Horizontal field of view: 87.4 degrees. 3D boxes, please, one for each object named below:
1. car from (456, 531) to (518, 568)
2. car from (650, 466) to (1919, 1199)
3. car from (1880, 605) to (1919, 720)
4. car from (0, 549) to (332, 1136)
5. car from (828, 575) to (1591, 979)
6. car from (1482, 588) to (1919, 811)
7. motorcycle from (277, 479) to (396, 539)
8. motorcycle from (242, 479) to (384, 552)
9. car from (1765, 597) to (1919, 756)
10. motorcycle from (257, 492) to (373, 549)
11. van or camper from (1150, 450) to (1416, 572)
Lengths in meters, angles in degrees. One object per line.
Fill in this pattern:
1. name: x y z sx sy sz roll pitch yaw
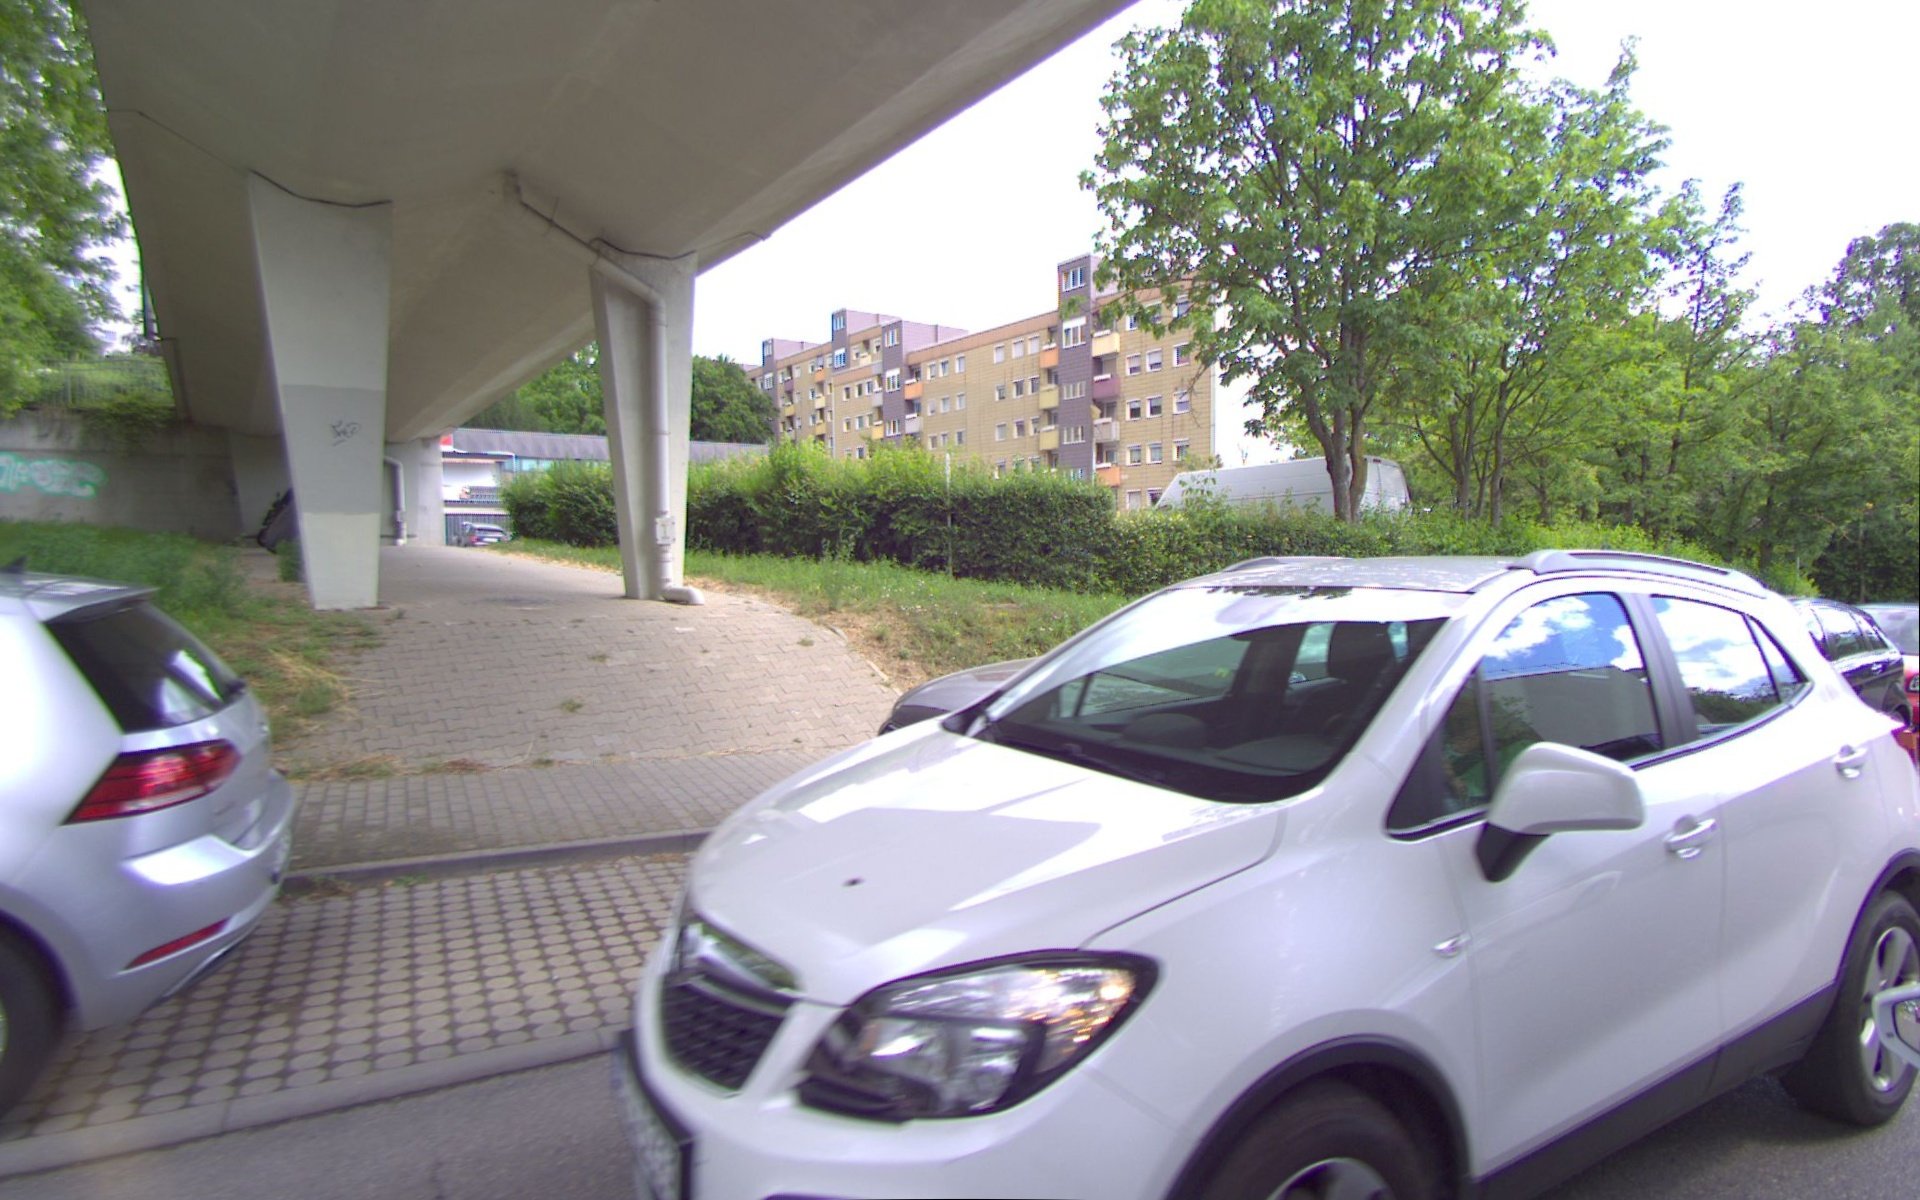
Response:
1. car: -19.904 -2.122 42.197 1.723 1.478 3.961 -1 3 -34
2. car: 1.329 0.660 2.946 4.005 1.633 1.739 0 1 -31
3. car: 14.288 0.856 13.526 3.923 1.456 1.666 1 2 -30
4. car: -4.036 0.552 2.615 3.952 1.446 1.876 1 2 -30
5. car: 1.632 0.688 5.915 4.406 1.529 1.873 1 2 -34
6. car: 6.771 0.740 9.126 3.794 1.580 1.874 1 2 -31
7. motorcycle: -14.492 -2.089 23.378 2.292 1.288 0.877 -1 3 -35
8. motorcycle: -12.030 -1.560 18.745 2.011 1.288 0.884 0 3 -12
9. car: 10.466 0.781 11.080 2.680 1.526 1.522 1 2 -29
10. motorcycle: -15.422 -1.871 24.059 2.292 1.288 0.877 -1 3 -35
11. van or camper: 6.245 -1.668 20.010 1.980 2.114 4.822 -1 3 -34
